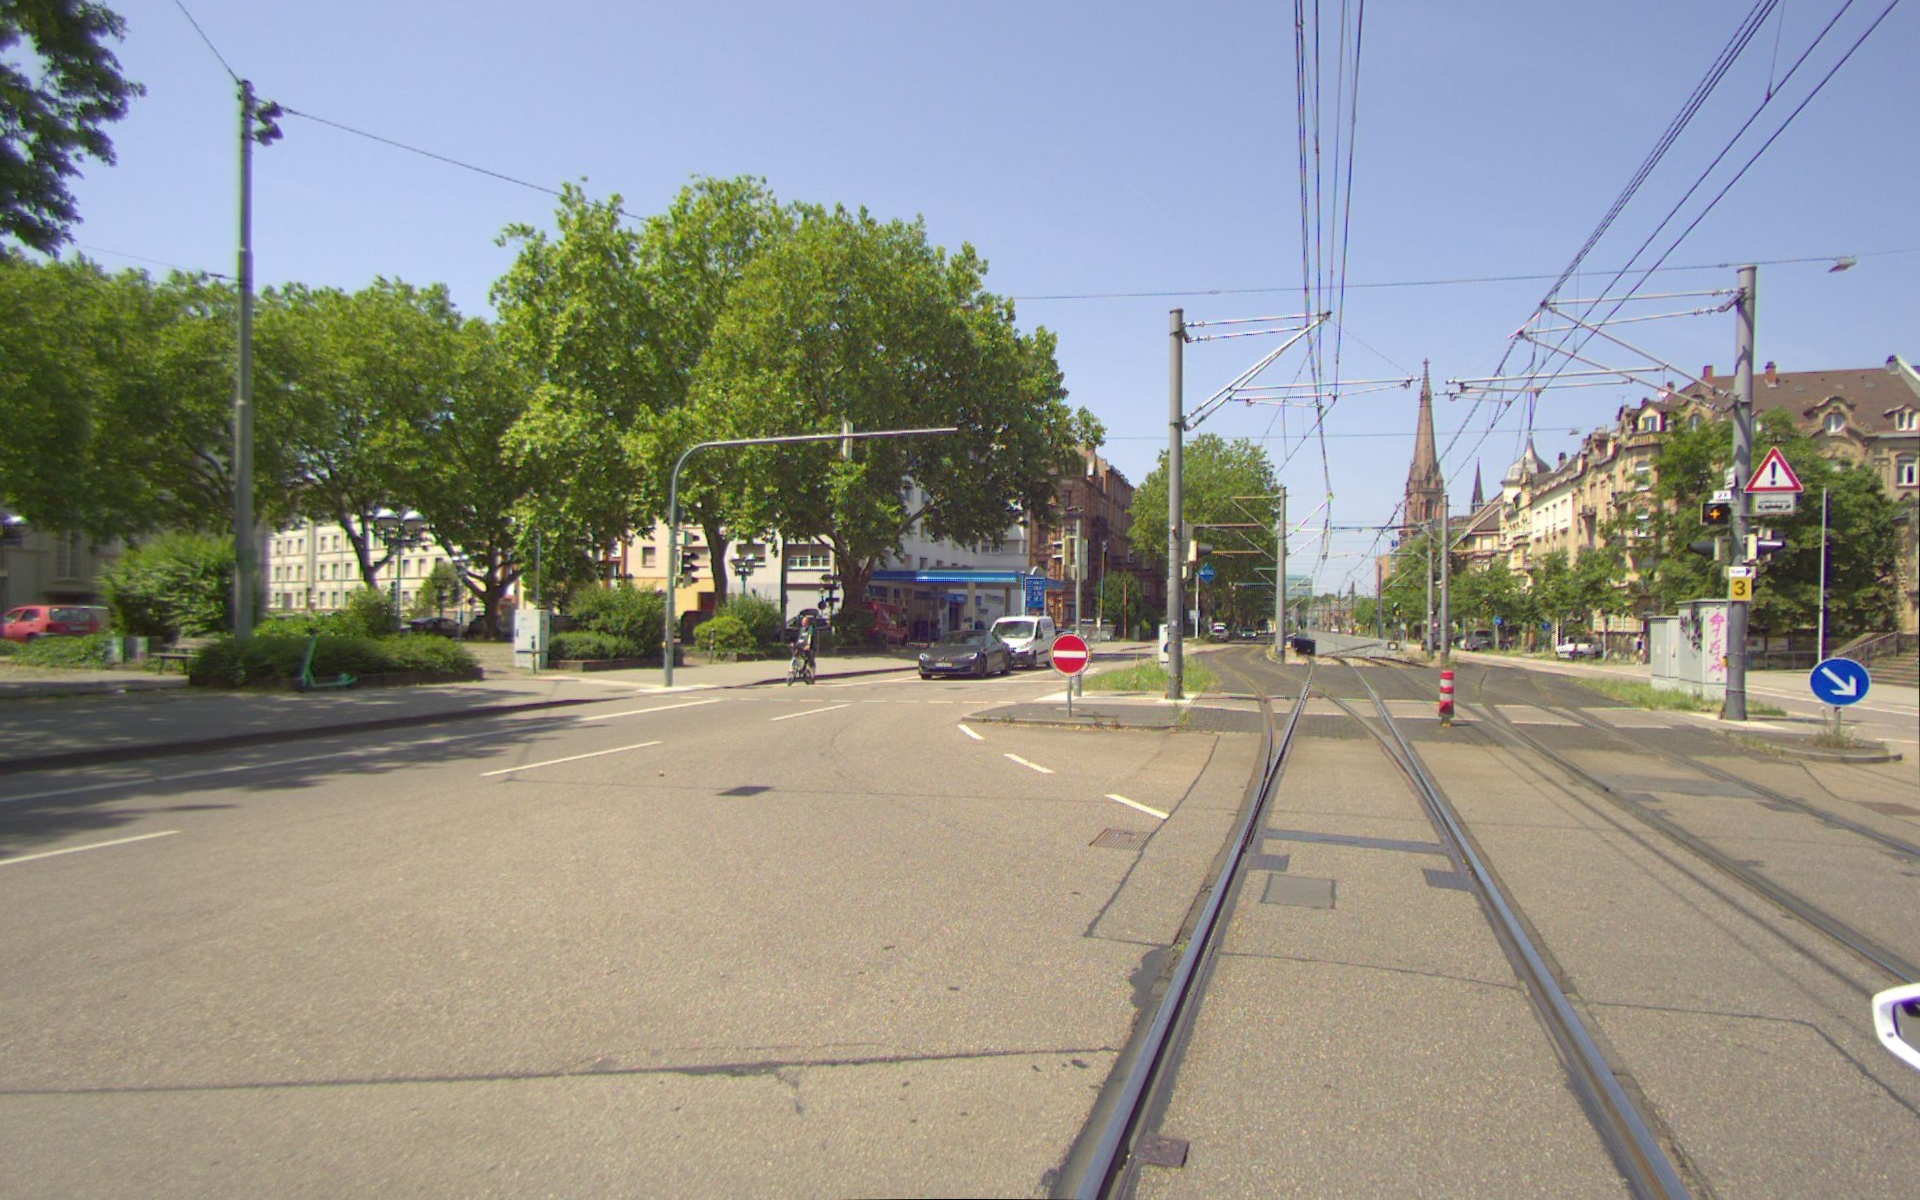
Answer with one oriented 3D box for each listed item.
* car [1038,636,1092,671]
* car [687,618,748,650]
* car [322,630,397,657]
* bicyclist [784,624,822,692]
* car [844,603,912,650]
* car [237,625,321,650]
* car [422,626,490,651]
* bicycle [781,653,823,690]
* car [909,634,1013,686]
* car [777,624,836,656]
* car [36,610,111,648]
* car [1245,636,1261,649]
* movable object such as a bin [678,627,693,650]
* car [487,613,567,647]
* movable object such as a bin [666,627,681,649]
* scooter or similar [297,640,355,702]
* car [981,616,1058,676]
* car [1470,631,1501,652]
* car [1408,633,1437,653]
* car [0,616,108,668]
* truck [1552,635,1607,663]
[{"bbox_3d":[4.611,2.305,43.682,1.569,1.439,3.783,-1,-2,18],"label":"car"},{"bbox_3d":[-13.468,1.862,56.038,1.554,1.714,3.928,0,-1,15],"label":"car"},{"bbox_3d":[-36.372,2.606,60.844,3.773,1.507,1.735,0,-1,16],"label":"car"},{"bbox_3d":[-4.077,1.483,26.096,0.627,1.708,0.869,1,-1,15],"label":"bicyclist"},{"bbox_3d":[-4.449,1.453,55.391,1.816,2.424,4.982,0,-1,20],"label":"car"},{"bbox_3d":[-38.536,2.116,56.831,3.773,1.272,1.924,1,-1,16],"label":"car"},{"bbox_3d":[-32.453,2.440,64.760,1.884,1.507,3.853,0,-1,13],"label":"car"},{"bbox_3d":[-4.079,1.838,26.068,0.487,0.894,1.483,1,-1,16],"label":"bicycle"},{"bbox_3d":[0.144,1.764,30.569,1.914,1.377,4.630,0,-1,17],"label":"car"},{"bbox_3d":[-8.380,2.164,55.186,1.555,1.663,3.927,0,-1,19],"label":"car"},{"bbox_3d":[-50.039,1.634,56.692,3.850,1.975,1.573,1,-1,22],"label":"car"},{"bbox_3d":[39.612,5.705,135.678,1.816,1.646,4.603,-1,-2,19],"label":"car"},{"bbox_3d":[-19.876,2.781,72.789,0.551,1.581,1.019,1,-1,19],"label":"movable object such as a bin"},{"bbox_3d":[-26.691,1.852,62.136,1.884,2.017,5.111,0,-1,13],"label":"car"},{"bbox_3d":[-20.740,2.754,72.672,0.551,1.581,1.019,1,-1,19],"label":"movable object such as a bin"},{"bbox_3d":[-11.865,1.314,18.811,0.253,1.135,0.859,1,-1,30],"label":"scooter or similar"},{"bbox_3d":[2.257,1.651,36.871,1.747,2.017,4.807,0,-1,17],"label":"car"},{"bbox_3d":[45.452,3.596,86.911,1.720,1.728,3.760,1,-1,18],"label":"car"},{"bbox_3d":[38.419,3.564,83.512,1.720,1.559,3.760,1,-1,18],"label":"car"},{"bbox_3d":[-27.454,1.225,30.028,3.278,1.402,1.473,1,-1,17],"label":"car"},{"bbox_3d":[37.459,2.932,60.844,1.759,1.546,4.467,0,-1,18],"label":"truck"}]
